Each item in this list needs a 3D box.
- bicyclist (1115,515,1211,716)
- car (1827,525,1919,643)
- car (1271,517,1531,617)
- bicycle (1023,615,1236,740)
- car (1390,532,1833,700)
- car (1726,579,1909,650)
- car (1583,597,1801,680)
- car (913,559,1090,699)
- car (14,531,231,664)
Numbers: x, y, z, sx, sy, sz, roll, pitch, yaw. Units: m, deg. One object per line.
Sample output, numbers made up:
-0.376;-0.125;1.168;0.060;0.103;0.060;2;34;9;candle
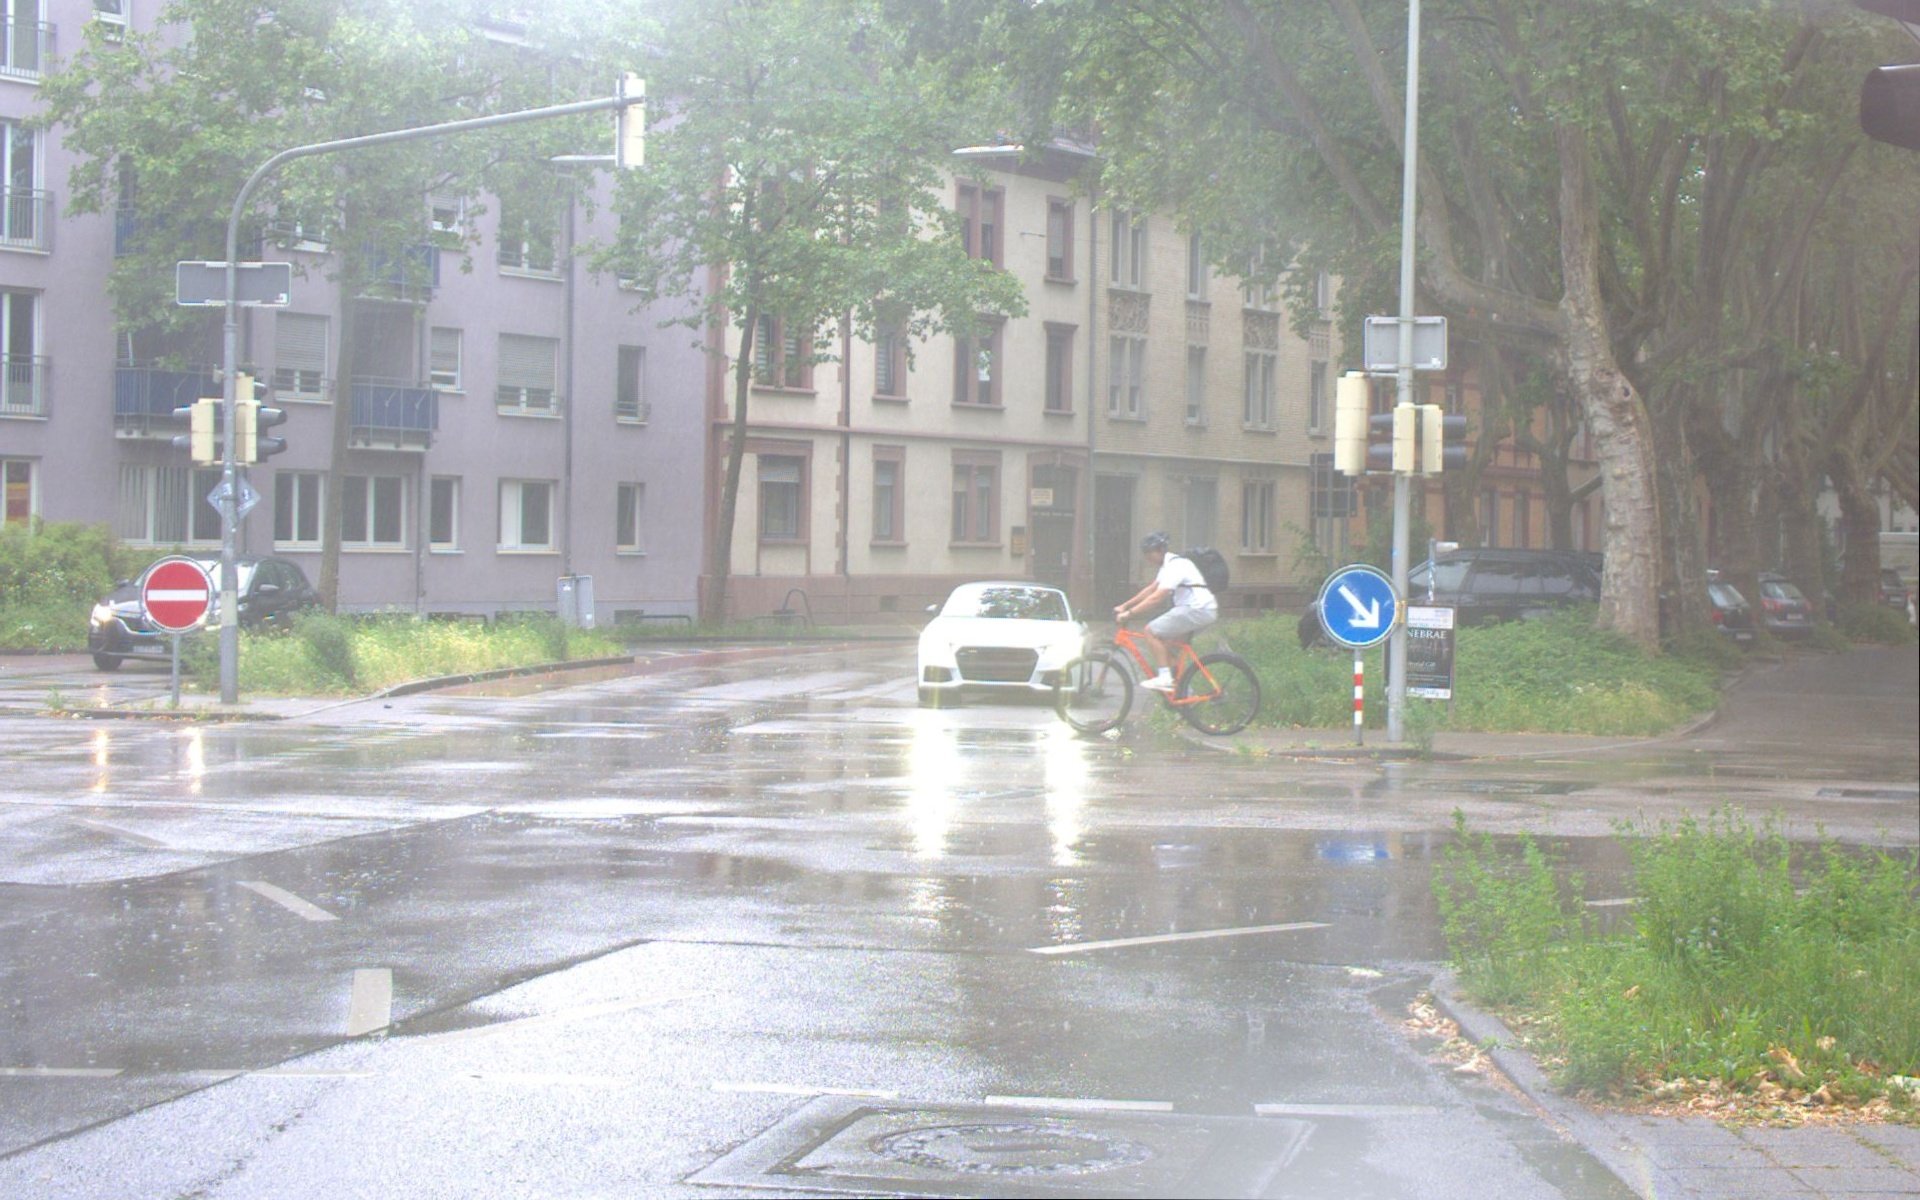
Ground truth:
1.836;0.136;31.107;0.795;1.780;0.697;1;0;8;bicyclist
24.399;-0.410;87.720;2.033;2.938;4.773;1;1;-21;car
6.908;-0.516;53.727;3.868;1.481;1.715;1;0;13;car
1.542;0.692;31.154;1.873;1.077;0.657;1;0;8;bicycle
6.193;0.127;32.679;3.989;1.481;1.999;1;1;12;car
19.578;0.312;78.659;3.989;1.542;1.999;1;1;12;car
13.959;0.720;65.615;3.989;1.481;1.999;1;1;12;car
0.495;0.286;39.091;1.884;1.431;4.000;1;1;2;car
-10.046;-0.065;41.505;1.751;1.506;3.839;1;1;-2;car
